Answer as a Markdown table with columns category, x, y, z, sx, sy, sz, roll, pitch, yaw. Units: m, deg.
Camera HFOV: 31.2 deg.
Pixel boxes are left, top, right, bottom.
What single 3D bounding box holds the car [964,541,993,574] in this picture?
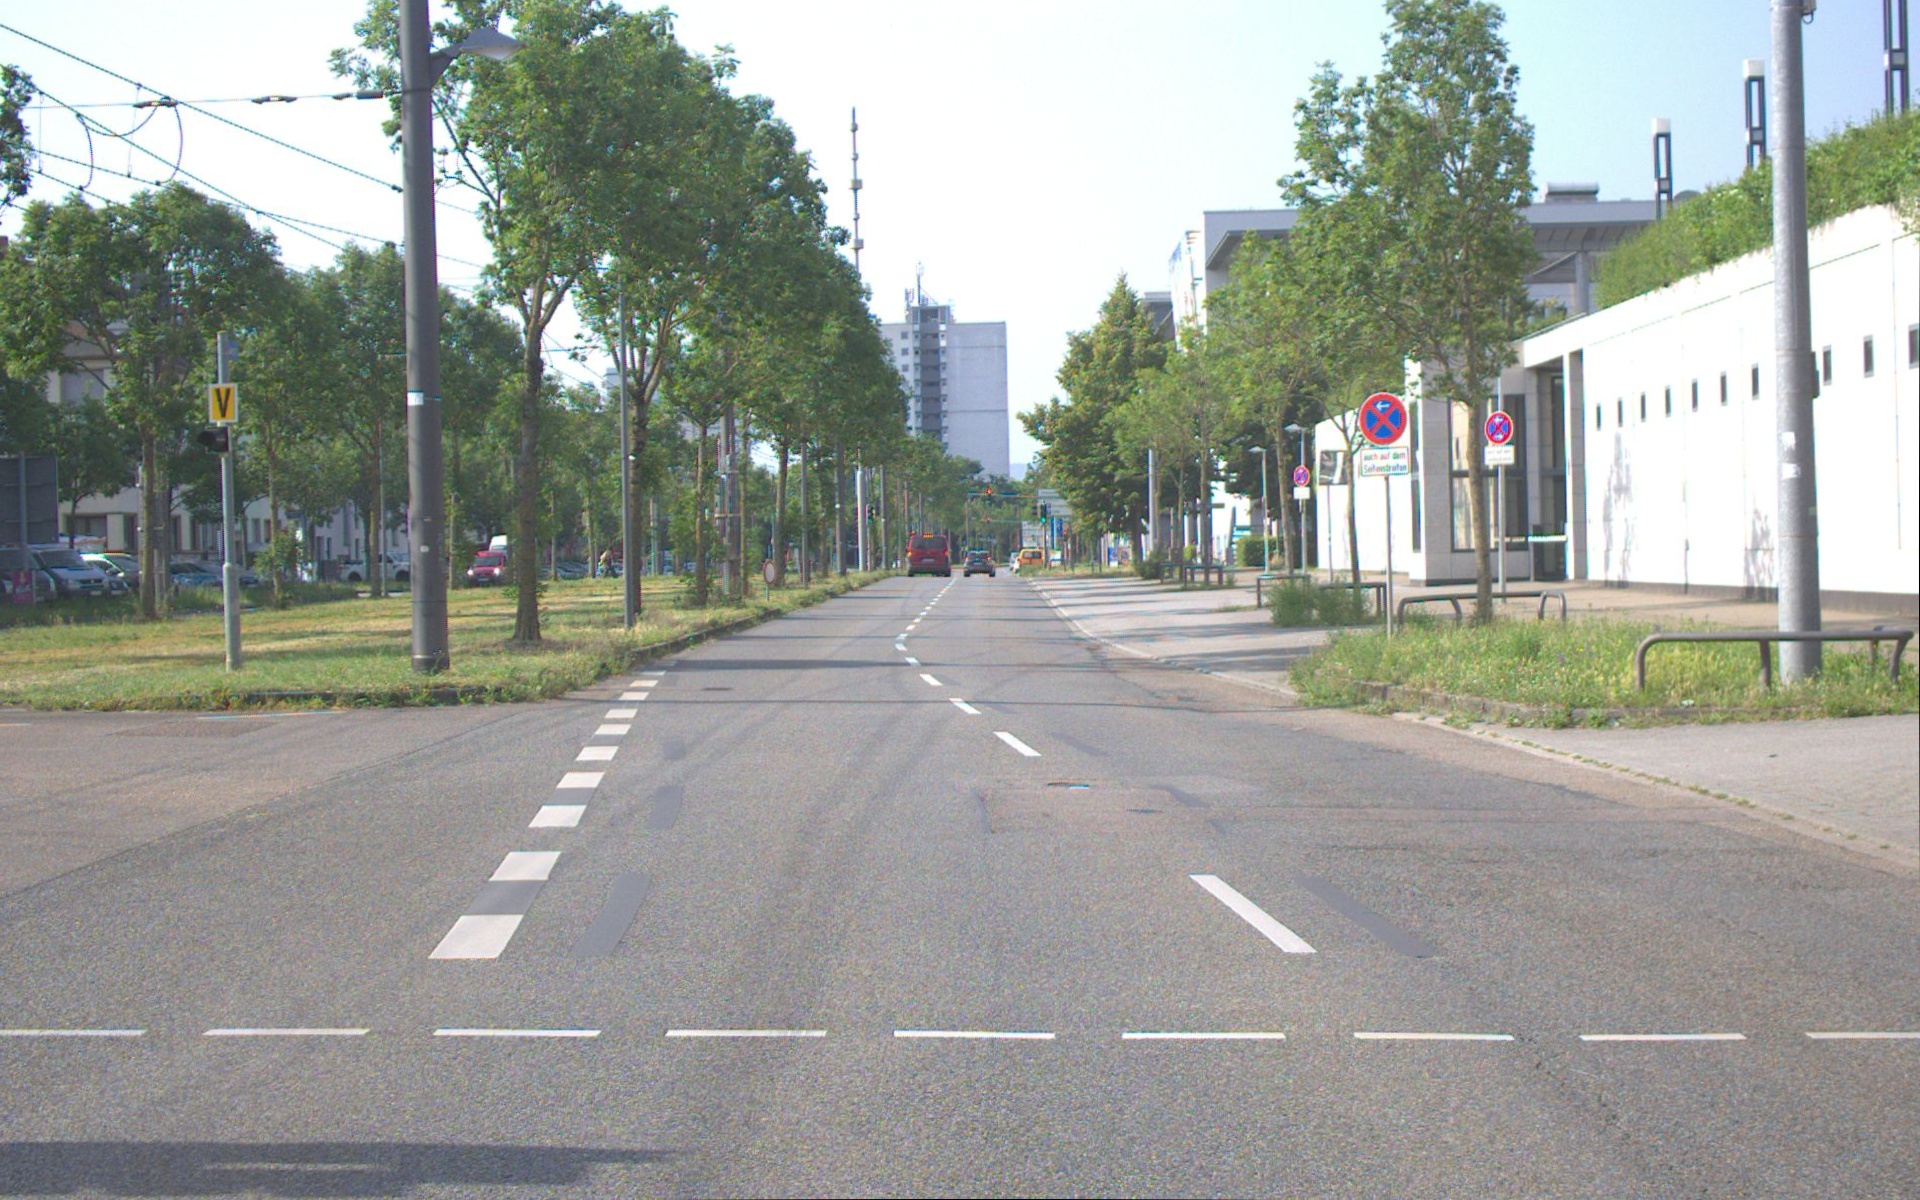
| category | x | y | z | sx | sy | sz | roll | pitch | yaw |
| --- | --- | --- | --- | --- | --- | --- | --- | --- | --- |
| car | 1.169 | -2.682 | 216.606 | 1.748 | 2.007 | 3.215 | 1 | 0 | 1 |

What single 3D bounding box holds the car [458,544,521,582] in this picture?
| category | x | y | z | sx | sy | sz | roll | pitch | yaw |
| --- | --- | --- | --- | --- | --- | --- | --- | --- | --- |
| car | -21.547 | -1.686 | 157.468 | 1.965 | 1.688 | 4.296 | 1 | 0 | 4 |

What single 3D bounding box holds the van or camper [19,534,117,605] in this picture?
| category | x | y | z | sx | sy | sz | roll | pitch | yaw |
| --- | --- | --- | --- | --- | --- | --- | --- | --- | --- |
| van or camper | -33.787 | -1.152 | 130.440 | 2.039 | 2.558 | 6.357 | 1 | 0 | 0 |

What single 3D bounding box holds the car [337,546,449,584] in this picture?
| category | x | y | z | sx | sy | sz | roll | pitch | yaw |
| --- | --- | --- | --- | --- | --- | --- | --- | --- | --- |
| car | -26.952 | -1.666 | 163.281 | 5.320 | 1.732 | 1.996 | 1 | 0 | 35 |

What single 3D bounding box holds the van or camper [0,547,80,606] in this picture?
| category | x | y | z | sx | sy | sz | roll | pitch | yaw |
| --- | --- | --- | --- | --- | --- | --- | --- | --- | --- |
| van or camper | -27.680 | -0.696 | 98.516 | 4.844 | 1.618 | 1.999 | 1 | 0 | 33 |

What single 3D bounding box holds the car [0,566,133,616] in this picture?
| category | x | y | z | sx | sy | sz | roll | pitch | yaw |
| --- | --- | --- | --- | --- | --- | --- | --- | --- | --- |
| car | -27.330 | -0.289 | 103.913 | 4.470 | 1.414 | 1.971 | 1 | 0 | 33 |

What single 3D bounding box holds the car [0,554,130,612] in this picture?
| category | x | y | z | sx | sy | sz | roll | pitch | yaw |
| --- | --- | --- | --- | --- | --- | --- | --- | --- | --- |
| car | -27.051 | -0.530 | 101.083 | 5.214 | 1.618 | 2.053 | 1 | 0 | 31 |

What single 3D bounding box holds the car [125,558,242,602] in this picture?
| category | x | y | z | sx | sy | sz | roll | pitch | yaw |
| --- | --- | --- | --- | --- | --- | --- | --- | --- | --- |
| car | -26.489 | -0.677 | 117.242 | 3.995 | 1.412 | 1.574 | 1 | 0 | 35 |

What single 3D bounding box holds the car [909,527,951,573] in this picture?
| category | x | y | z | sx | sy | sz | roll | pitch | yaw |
| --- | --- | --- | --- | --- | --- | --- | --- | --- | --- |
| car | -1.340 | -2.230 | 153.509 | 1.748 | 2.007 | 3.215 | 1 | 0 | 1 |

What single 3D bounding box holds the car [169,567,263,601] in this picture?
| category | x | y | z | sx | sy | sz | roll | pitch | yaw |
| --- | --- | --- | --- | --- | --- | --- | --- | --- | --- |
| car | -26.796 | -0.590 | 123.834 | 3.160 | 1.157 | 1.494 | 1 | 0 | 33 |

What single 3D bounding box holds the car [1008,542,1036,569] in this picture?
| category | x | y | z | sx | sy | sz | roll | pitch | yaw |
| --- | --- | --- | --- | --- | --- | --- | --- | --- | --- |
| car | 4.015 | -2.866 | 221.366 | 1.748 | 1.645 | 3.215 | 1 | 0 | 1 |
